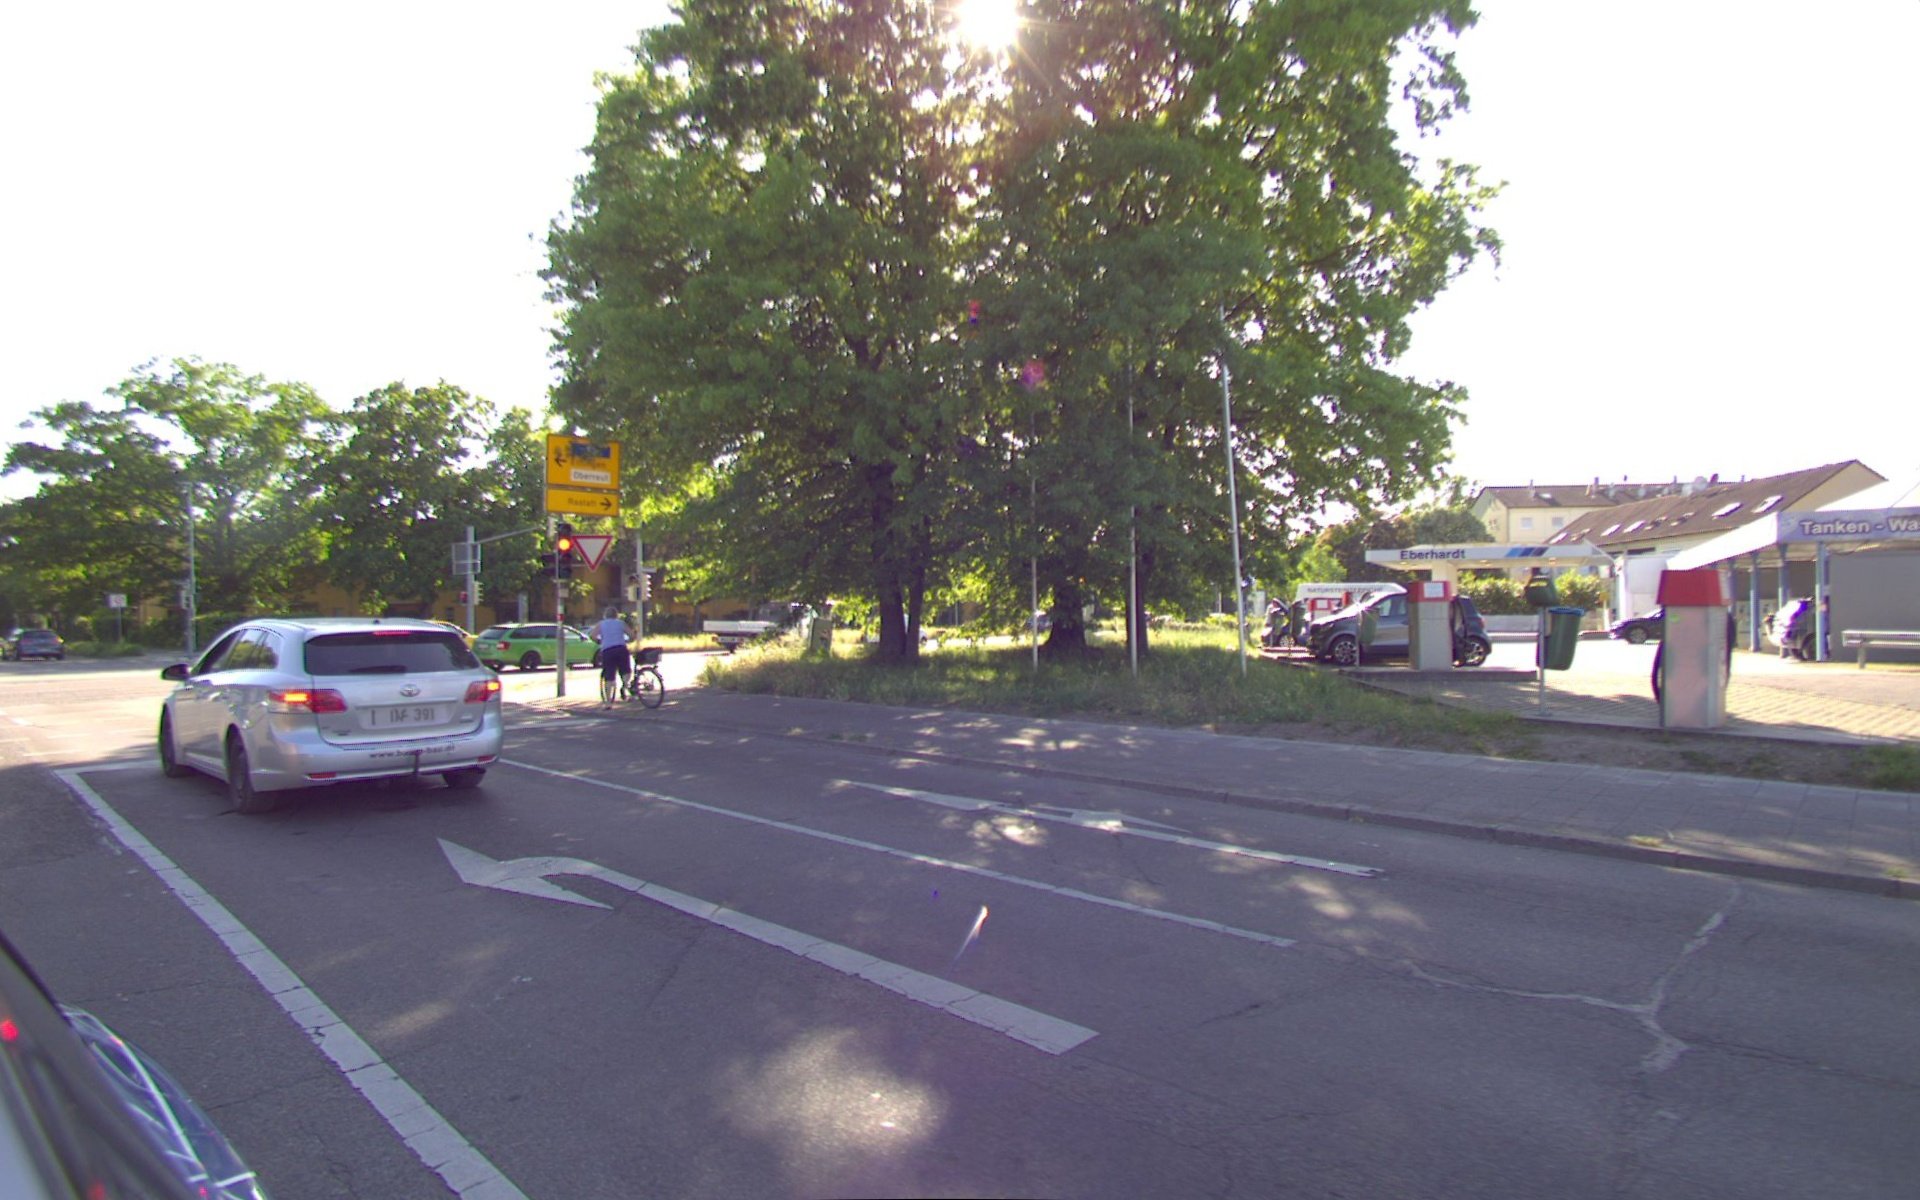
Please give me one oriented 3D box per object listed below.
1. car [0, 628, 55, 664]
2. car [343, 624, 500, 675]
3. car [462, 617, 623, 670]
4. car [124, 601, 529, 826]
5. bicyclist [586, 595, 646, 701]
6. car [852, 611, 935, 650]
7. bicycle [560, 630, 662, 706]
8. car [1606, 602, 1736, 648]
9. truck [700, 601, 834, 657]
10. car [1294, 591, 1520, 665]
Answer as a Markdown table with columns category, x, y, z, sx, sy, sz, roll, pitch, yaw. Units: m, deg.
| category | x | y | z | sx | sy | sz | roll | pitch | yaw |
| --- | --- | --- | --- | --- | --- | --- | --- | --- | --- |
| car | -42.277 | 2.057 | 45.726 | 3.889 | 1.409 | 1.618 | 1 | 0 | 41 |
| car | -16.771 | 1.490 | 31.720 | 1.686 | 1.451 | 4.078 | -1 | -1 | 30 |
| car | -12.924 | 1.300 | 31.569 | 1.916 | 1.497 | 4.314 | 1 | 0 | 34 |
| car | -5.879 | 0.826 | 9.091 | 4.888 | 1.500 | 1.817 | -2 | -2 | 42 |
| bicyclist | -5.538 | 0.764 | 16.283 | 0.828 | 1.654 | 0.536 | -2 | -2 | 37 |
| car | -3.133 | 1.434 | 48.695 | 1.913 | 1.741 | 4.321 | 1 | 0 | 29 |
| bicycle | -5.627 | 1.067 | 16.250 | 2.023 | 1.150 | 0.522 | -2 | -2 | 38 |
| car | 28.087 | 0.962 | 40.128 | 4.067 | 1.684 | 1.570 | 1 | 0 | 30 |
| truck | -8.658 | 1.285 | 46.133 | 2.183 | 2.327 | 6.706 | -2 | -2 | 30 |
| car | 9.238 | 0.555 | 21.206 | 3.953 | 1.386 | 1.756 | 1 | 0 | 8 |
